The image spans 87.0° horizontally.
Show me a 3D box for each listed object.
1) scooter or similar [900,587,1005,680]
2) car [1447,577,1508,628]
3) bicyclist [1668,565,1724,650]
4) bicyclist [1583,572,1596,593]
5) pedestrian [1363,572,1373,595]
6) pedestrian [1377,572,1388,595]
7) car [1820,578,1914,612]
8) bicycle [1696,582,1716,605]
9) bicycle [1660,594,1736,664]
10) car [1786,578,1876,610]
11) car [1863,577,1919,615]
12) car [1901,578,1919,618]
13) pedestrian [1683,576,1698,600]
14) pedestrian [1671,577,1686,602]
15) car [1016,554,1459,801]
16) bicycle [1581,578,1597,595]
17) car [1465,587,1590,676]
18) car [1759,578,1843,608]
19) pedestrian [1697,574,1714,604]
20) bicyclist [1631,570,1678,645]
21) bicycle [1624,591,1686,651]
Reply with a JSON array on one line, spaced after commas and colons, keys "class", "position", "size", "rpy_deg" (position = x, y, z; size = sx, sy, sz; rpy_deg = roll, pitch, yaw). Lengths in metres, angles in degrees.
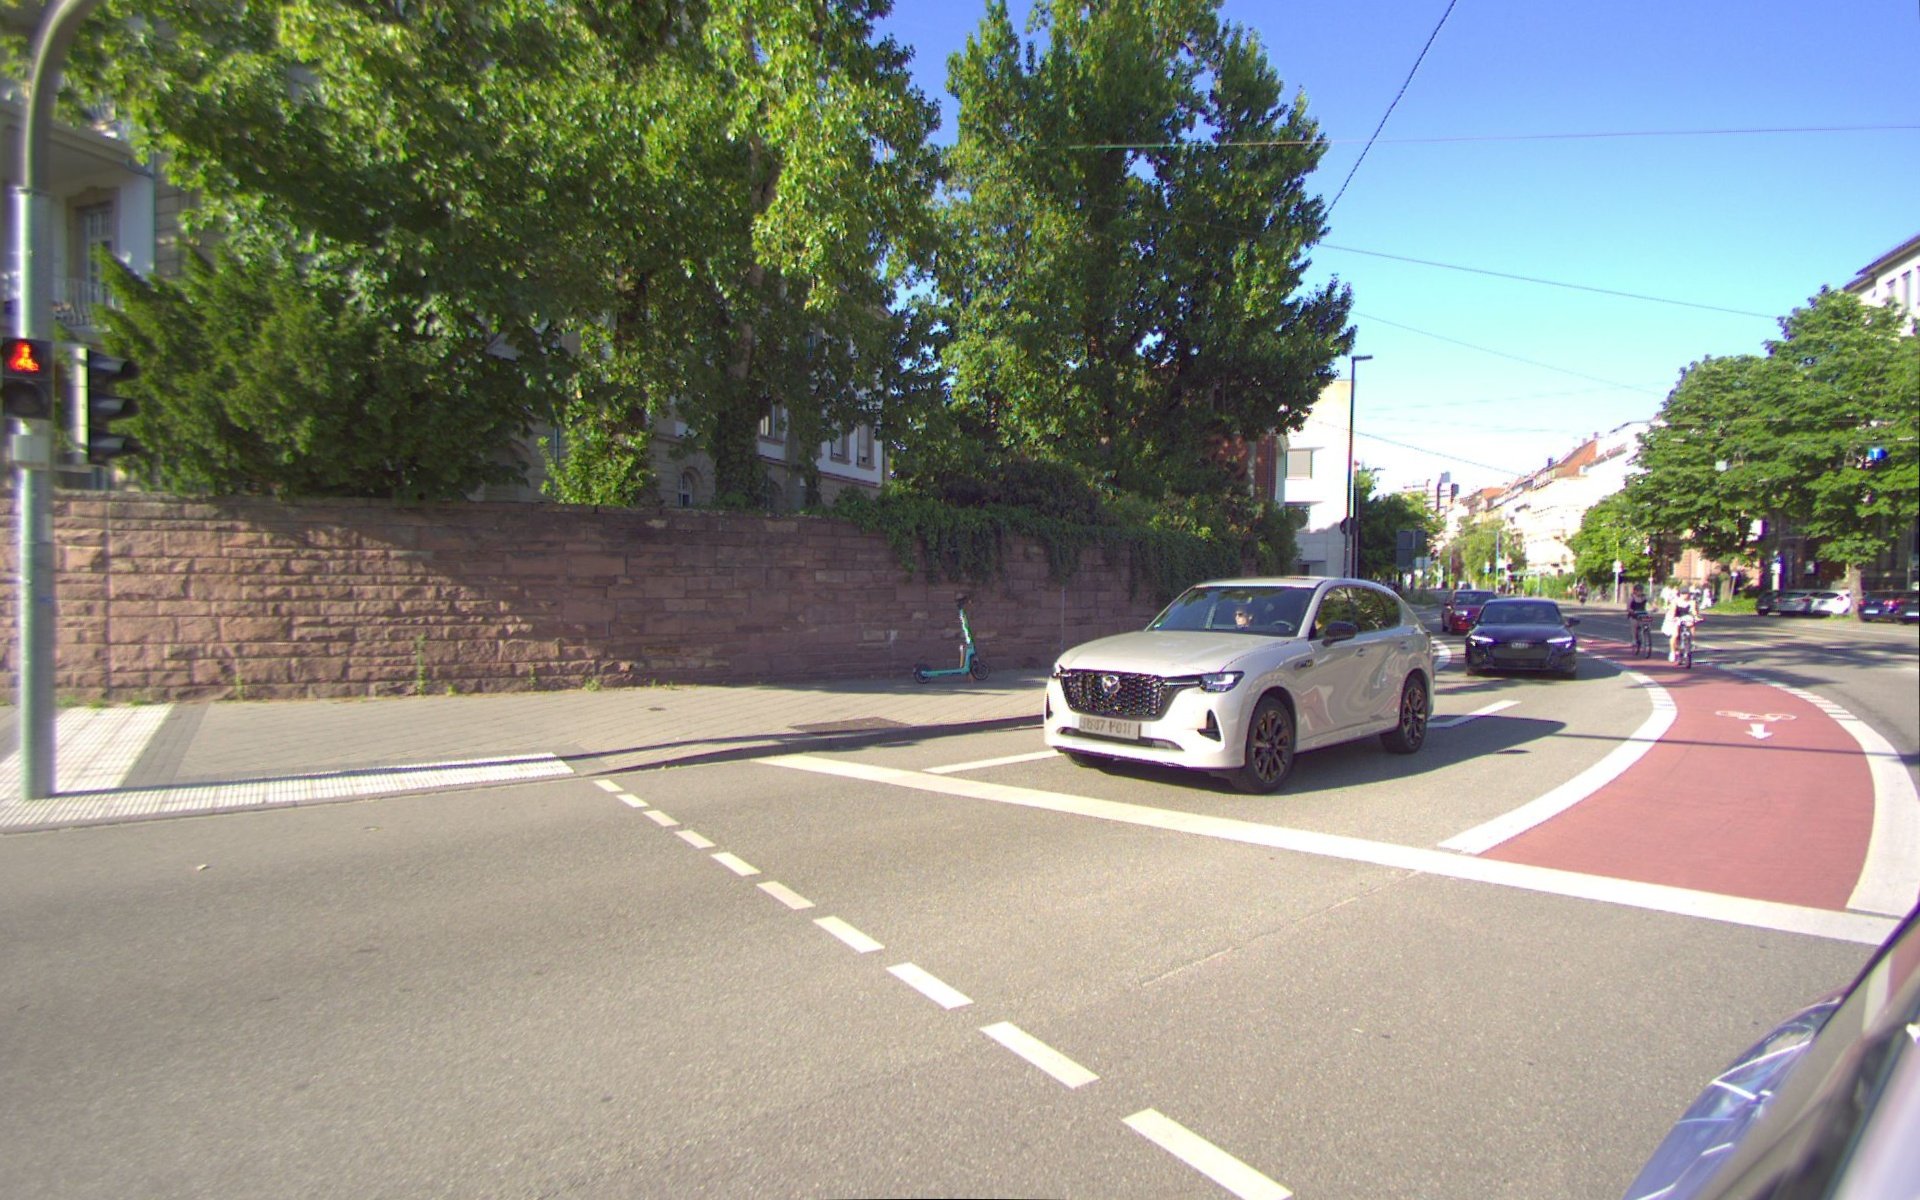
[{"class": "scooter or similar", "position": [-0.102, 0.467, 14.691], "size": [1.395, 1.285, 0.577], "rpy_deg": [0, 1, -27]}, {"class": "car", "position": [16.950, 0.048, 33.263], "size": [1.633, 1.580, 3.619], "rpy_deg": [-1, 1, 25]}, {"class": "bicyclist", "position": [14.974, 0.139, 20.614], "size": [0.668, 1.667, 1.021], "rpy_deg": [1, 1, 23]}, {"class": "bicyclist", "position": [49.222, -1.378, 79.181], "size": [0.668, 1.667, 1.021], "rpy_deg": [1, 1, 23]}, {"class": "pedestrian", "position": [29.896, -1.232, 74.230], "size": [0.668, 1.668, 0.811], "rpy_deg": [0, 1, 23]}, {"class": "pedestrian", "position": [30.821, -1.187, 73.817], "size": [0.668, 1.668, 0.811], "rpy_deg": [0, 1, 23]}, {"class": "car", "position": [45.033, -0.276, 50.271], "size": [3.574, 1.580, 1.653], "rpy_deg": [-1, 1, -11]}, {"class": "bicycle", "position": [42.518, -0.367, 57.712], "size": [0.671, 1.266, 2.430], "rpy_deg": [1, 1, 31]}, {"class": "bicycle", "position": [14.961, 0.547, 20.589], "size": [0.668, 1.266, 2.438], "rpy_deg": [1, 2, 22]}, {"class": "car", "position": [45.336, -0.328, 52.688], "size": [3.574, 1.580, 1.653], "rpy_deg": [-1, 1, -11]}, {"class": "car", "position": [42.597, -0.199, 45.127], "size": [3.574, 1.580, 1.653], "rpy_deg": [-1, 1, -11]}, {"class": "car", "position": [42.065, -0.126, 42.352], "size": [4.094, 1.651, 1.849], "rpy_deg": [-1, 1, -11]}, {"class": "pedestrian", "position": [50.164, -0.833, 69.523], "size": [0.668, 1.668, 0.811], "rpy_deg": [0, 1, 23]}, {"class": "pedestrian", "position": [49.514, -0.740, 69.780], "size": [0.668, 1.668, 0.811], "rpy_deg": [0, 1, 23]}, {"class": "car", "position": [2.735, 0.486, 9.280], "size": [4.458, 1.713, 1.941], "rpy_deg": [-2, 1, -45]}, {"class": "bicycle", "position": [49.230, -1.051, 79.234], "size": [0.668, 1.266, 2.438], "rpy_deg": [1, 2, 22]}, {"class": "car", "position": [10.796, 0.510, 19.130], "size": [1.777, 1.451, 3.953], "rpy_deg": [-1, 1, 34]}, {"class": "car", "position": [46.488, -0.413, 55.949], "size": [3.574, 1.580, 1.653], "rpy_deg": [-1, 1, -11]}, {"class": "pedestrian", "position": [42.511, -0.644, 57.700], "size": [0.670, 1.668, 0.808], "rpy_deg": [1, 1, 32]}, {"class": "bicyclist", "position": [16.021, 0.153, 23.359], "size": [0.668, 1.667, 1.021], "rpy_deg": [1, 1, 23]}, {"class": "bicycle", "position": [16.039, 0.457, 23.409], "size": [0.668, 1.266, 2.438], "rpy_deg": [1, 2, 22]}]
